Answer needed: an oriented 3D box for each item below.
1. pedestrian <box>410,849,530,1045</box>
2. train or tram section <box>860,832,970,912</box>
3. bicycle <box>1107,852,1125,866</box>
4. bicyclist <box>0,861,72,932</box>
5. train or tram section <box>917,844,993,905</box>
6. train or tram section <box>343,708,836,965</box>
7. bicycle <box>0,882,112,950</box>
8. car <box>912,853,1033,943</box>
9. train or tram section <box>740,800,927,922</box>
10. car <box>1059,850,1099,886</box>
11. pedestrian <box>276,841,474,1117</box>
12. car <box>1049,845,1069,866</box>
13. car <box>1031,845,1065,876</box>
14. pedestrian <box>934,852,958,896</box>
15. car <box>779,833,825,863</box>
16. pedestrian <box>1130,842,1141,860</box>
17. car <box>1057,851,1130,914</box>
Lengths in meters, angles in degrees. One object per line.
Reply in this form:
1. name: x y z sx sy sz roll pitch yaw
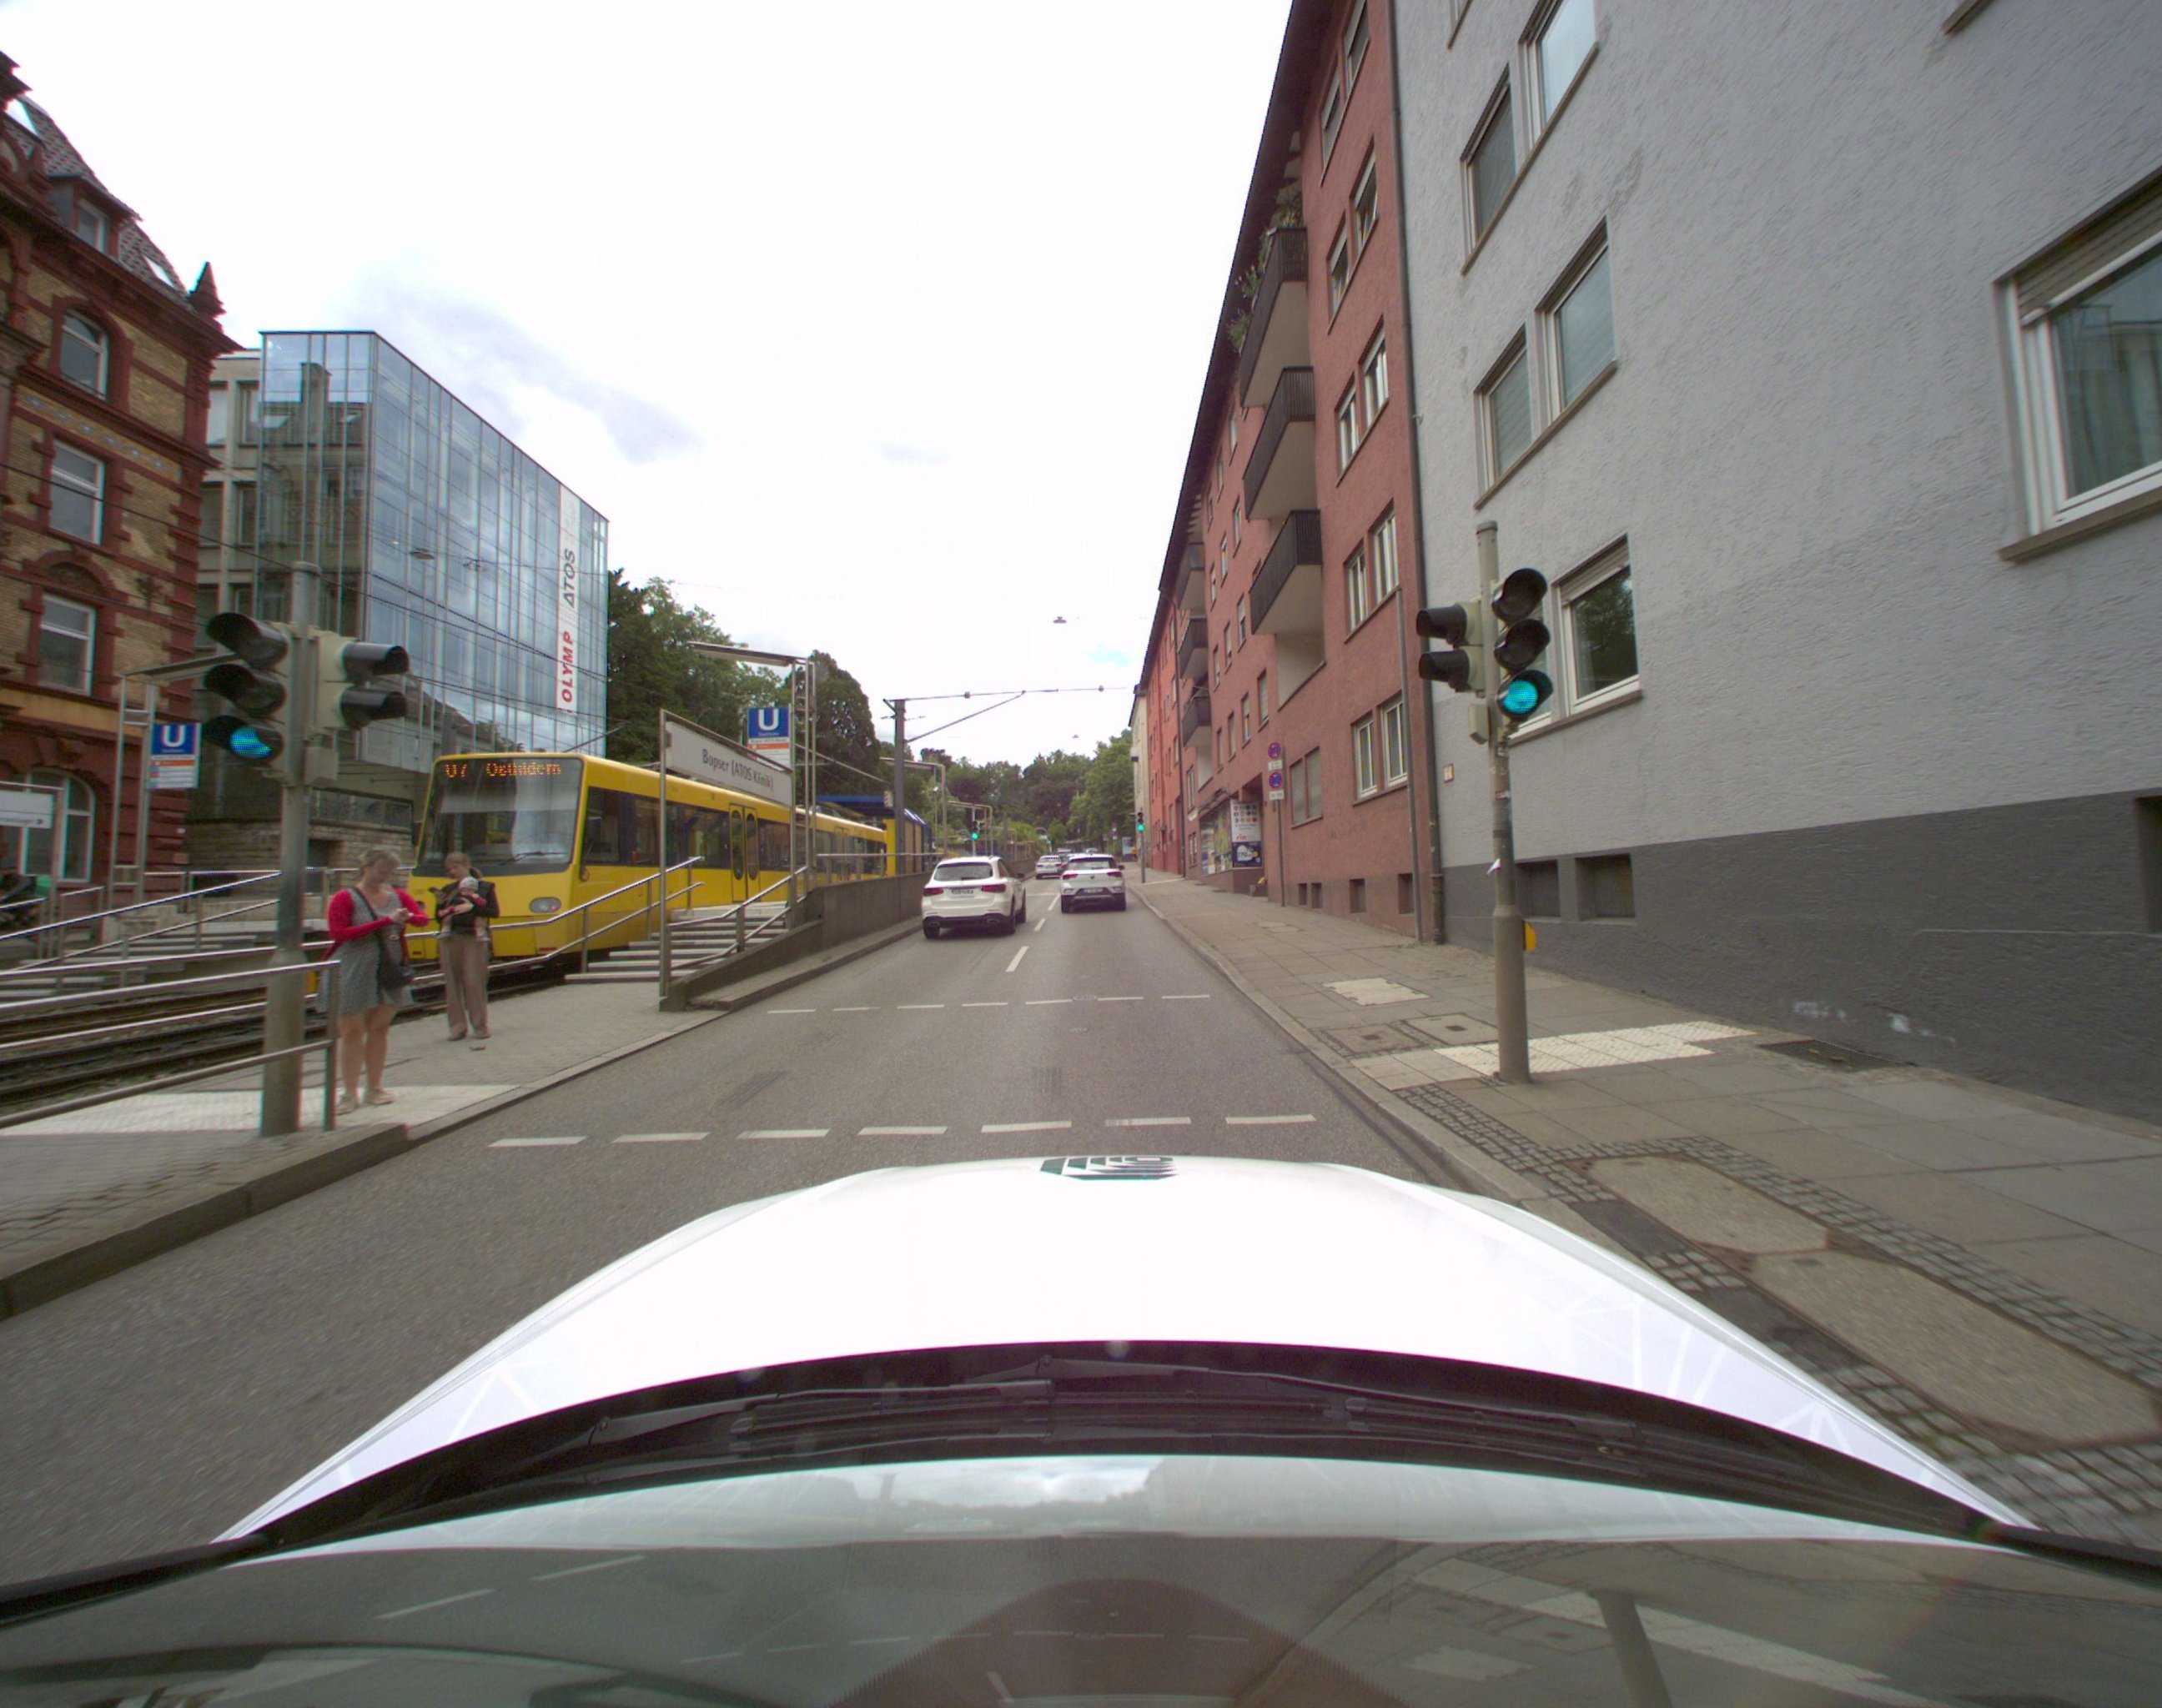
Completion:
1. pedestrian: -5.606 0.816 7.504 0.621 1.695 0.658 -1 -1 -9
2. train or tram section: -8.226 1.010 42.284 2.939 3.484 12.218 -2 -2 1
3. bicycle: 3.046 0.471 70.983 0.642 1.143 2.048 -9 3 -25
4. bicyclist: -22.017 0.881 16.985 0.767 1.428 0.905 -1 0 -4
5. train or tram section: -8.164 1.351 54.895 2.940 3.509 12.983 -2 -1 0
6. train or tram section: -8.765 -0.012 17.635 2.939 3.544 12.397 -2 -2 1
7. bicycle: -22.020 1.279 16.996 0.772 1.284 2.422 -1 0 -4
8. car: -2.238 0.847 18.024 1.870 1.652 4.343 -3 0 2
9. train or tram section: -8.433 0.531 30.011 2.939 3.472 12.217 -2 -3 1
10. car: -0.060 0.662 40.740 1.854 1.632 3.960 -2 0 1
11. pedestrian: -4.600 0.765 5.344 0.674 1.680 0.687 -1 0 11
12. car: -2.079 0.106 76.987 1.744 1.881 4.000 0 0 0
13. car: -2.074 0.408 52.274 1.987 1.881 4.000 0 0 0
14. pedestrian: -5.549 0.821 33.460 0.797 1.777 0.818 -1 0 0
15. car: -19.886 -0.389 58.245 1.988 2.014 3.997 0 -1 -1
16. pedestrian: 5.222 -0.260 78.139 0.834 1.712 0.818 -3 0 -13
17. car: 0.397 0.739 23.230 1.858 1.556 3.896 -2 0 2
